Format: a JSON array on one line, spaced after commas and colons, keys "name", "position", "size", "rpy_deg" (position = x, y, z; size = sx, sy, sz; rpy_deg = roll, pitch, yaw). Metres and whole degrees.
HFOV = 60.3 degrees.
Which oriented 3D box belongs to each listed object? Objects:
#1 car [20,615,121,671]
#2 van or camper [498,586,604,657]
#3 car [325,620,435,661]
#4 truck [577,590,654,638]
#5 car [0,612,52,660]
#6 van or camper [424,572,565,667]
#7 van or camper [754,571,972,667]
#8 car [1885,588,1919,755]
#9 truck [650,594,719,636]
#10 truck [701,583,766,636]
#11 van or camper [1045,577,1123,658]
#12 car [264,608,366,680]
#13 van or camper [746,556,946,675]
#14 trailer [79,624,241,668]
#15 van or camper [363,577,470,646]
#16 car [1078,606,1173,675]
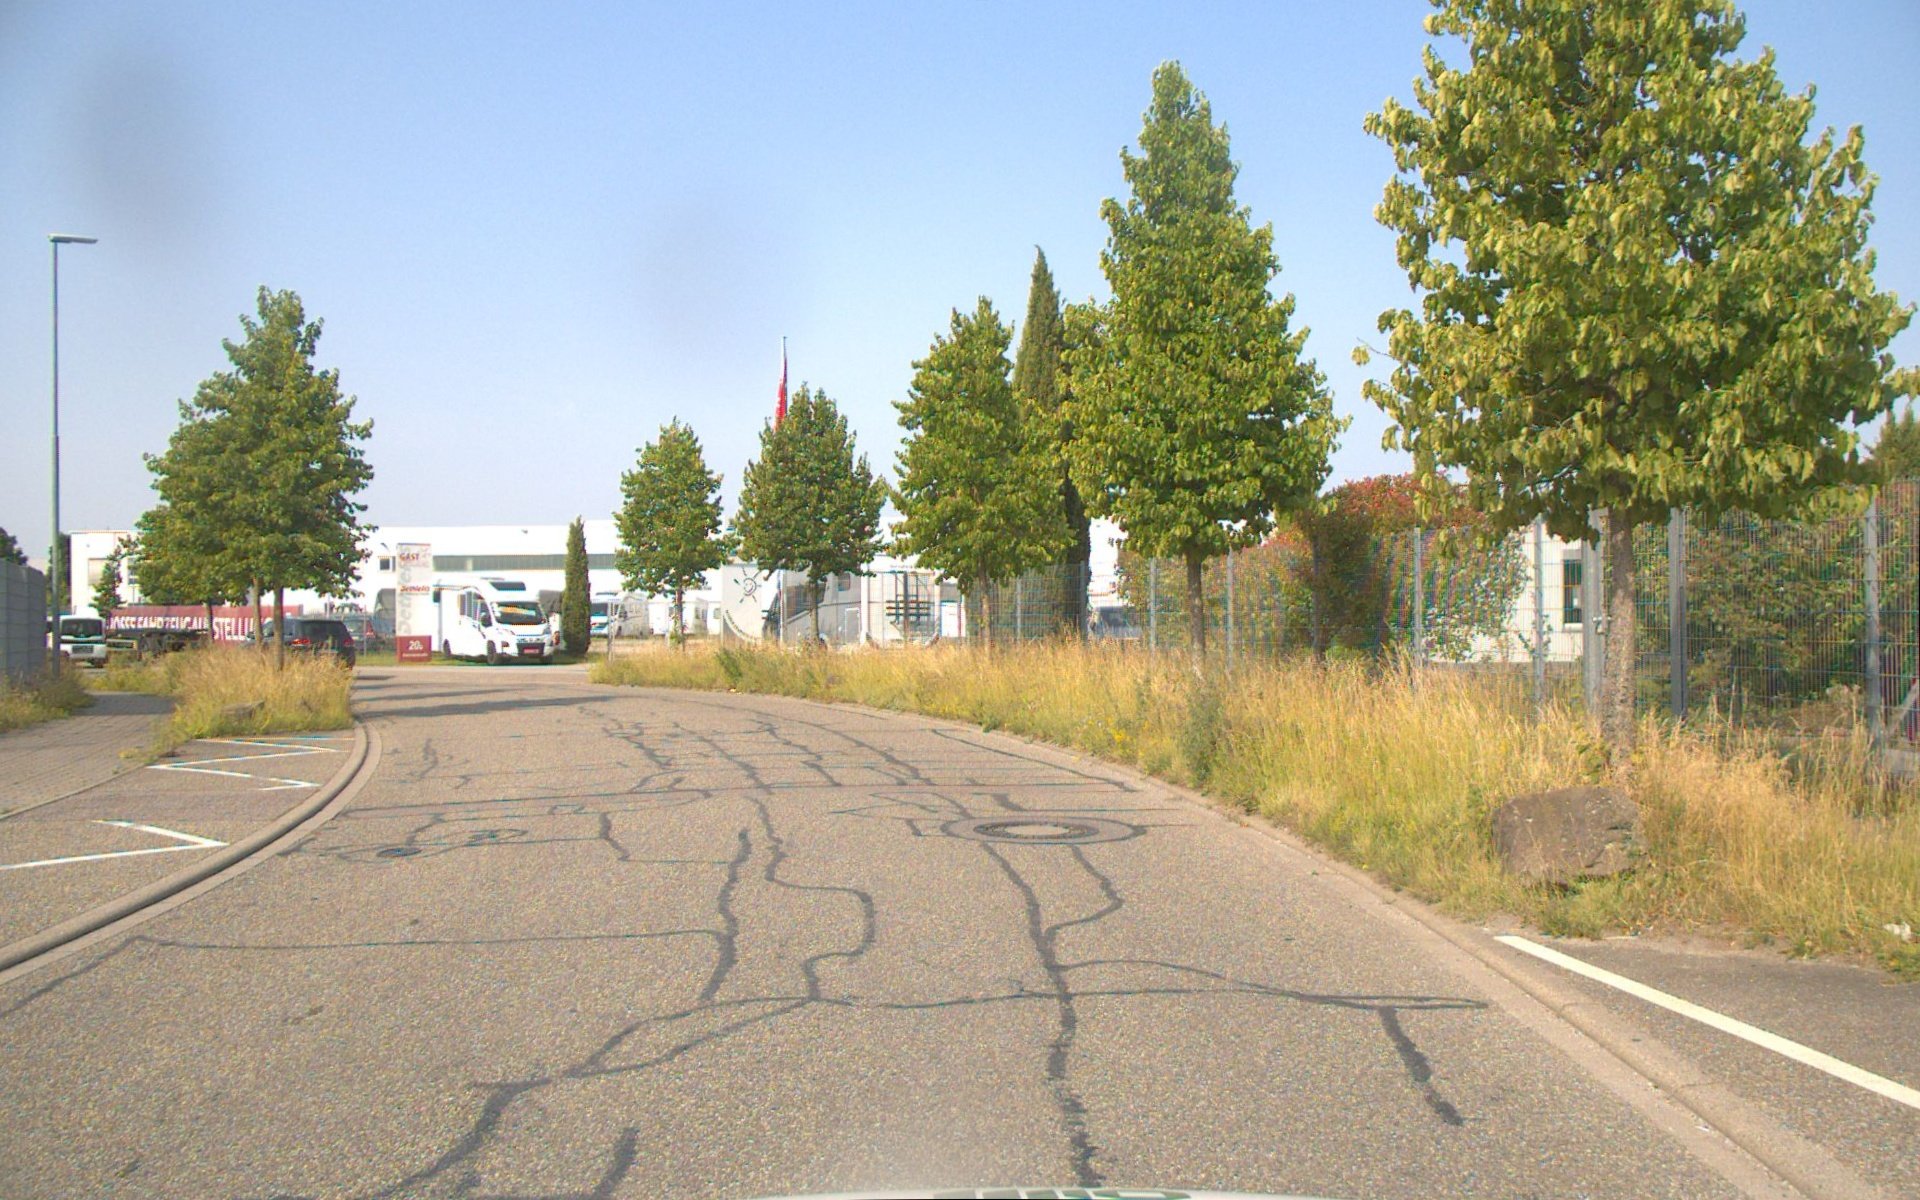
[{"name": "car", "position": [-32.190, 1.536, 59.804], "size": [4.391, 1.933, 1.987], "rpy_deg": [-1, -1, 44]}, {"name": "van or camper", "position": [-15.743, 0.778, 64.077], "size": [2.432, 2.603, 6.625], "rpy_deg": [0, 0, 0]}, {"name": "car", "position": [-22.424, 1.542, 64.135], "size": [2.119, 1.502, 4.003], "rpy_deg": [-1, 0, 15]}, {"name": "truck", "position": [-18.937, 0.766, 91.268], "size": [2.400, 2.514, 8.003], "rpy_deg": [0, 0, 1]}, {"name": "car", "position": [-42.573, 1.589, 74.634], "size": [1.810, 2.012, 3.936], "rpy_deg": [-4, 3, -43]}, {"name": "van or camper", "position": [-15.890, 0.649, 56.141], "size": [2.313, 2.995, 6.879], "rpy_deg": [0, -1, -37]}, {"name": "van or camper", "position": [-3.269, 0.636, 55.516], "size": [7.118, 3.085, 2.582], "rpy_deg": [-1, -1, -6]}, {"name": "car", "position": [8.958, 0.567, 11.805], "size": [1.843, 1.381, 4.770], "rpy_deg": [-1, 0, -3]}, {"name": "truck", "position": [-15.569, 0.836, 93.922], "size": [2.400, 2.305, 8.003], "rpy_deg": [0, 0, 1]}, {"name": "truck", "position": [-12.793, 0.547, 93.868], "size": [2.400, 2.876, 8.003], "rpy_deg": [0, 0, 1]}, {"name": "van or camper", "position": [4.672, 0.698, 63.188], "size": [2.273, 2.914, 6.606], "rpy_deg": [-1, -1, -2]}, {"name": "car", "position": [-17.924, 1.220, 45.889], "size": [1.974, 1.836, 3.957], "rpy_deg": [-2, -1, -31]}, {"name": "van or camper", "position": [-3.180, 0.438, 43.918], "size": [2.325, 2.898, 7.266], "rpy_deg": [0, -1, -30]}, {"name": "trailer", "position": [-30.321, 1.707, 62.421], "size": [2.613, 1.412, 9.296], "rpy_deg": [-3, 1, -45]}, {"name": "van or camper", "position": [-25.796, 0.542, 78.840], "size": [2.606, 3.138, 6.797], "rpy_deg": [0, 0, 2]}, {"name": "car", "position": [4.217, 1.010, 42.652], "size": [1.689, 1.672, 3.996], "rpy_deg": [1, 0, -5]}]
